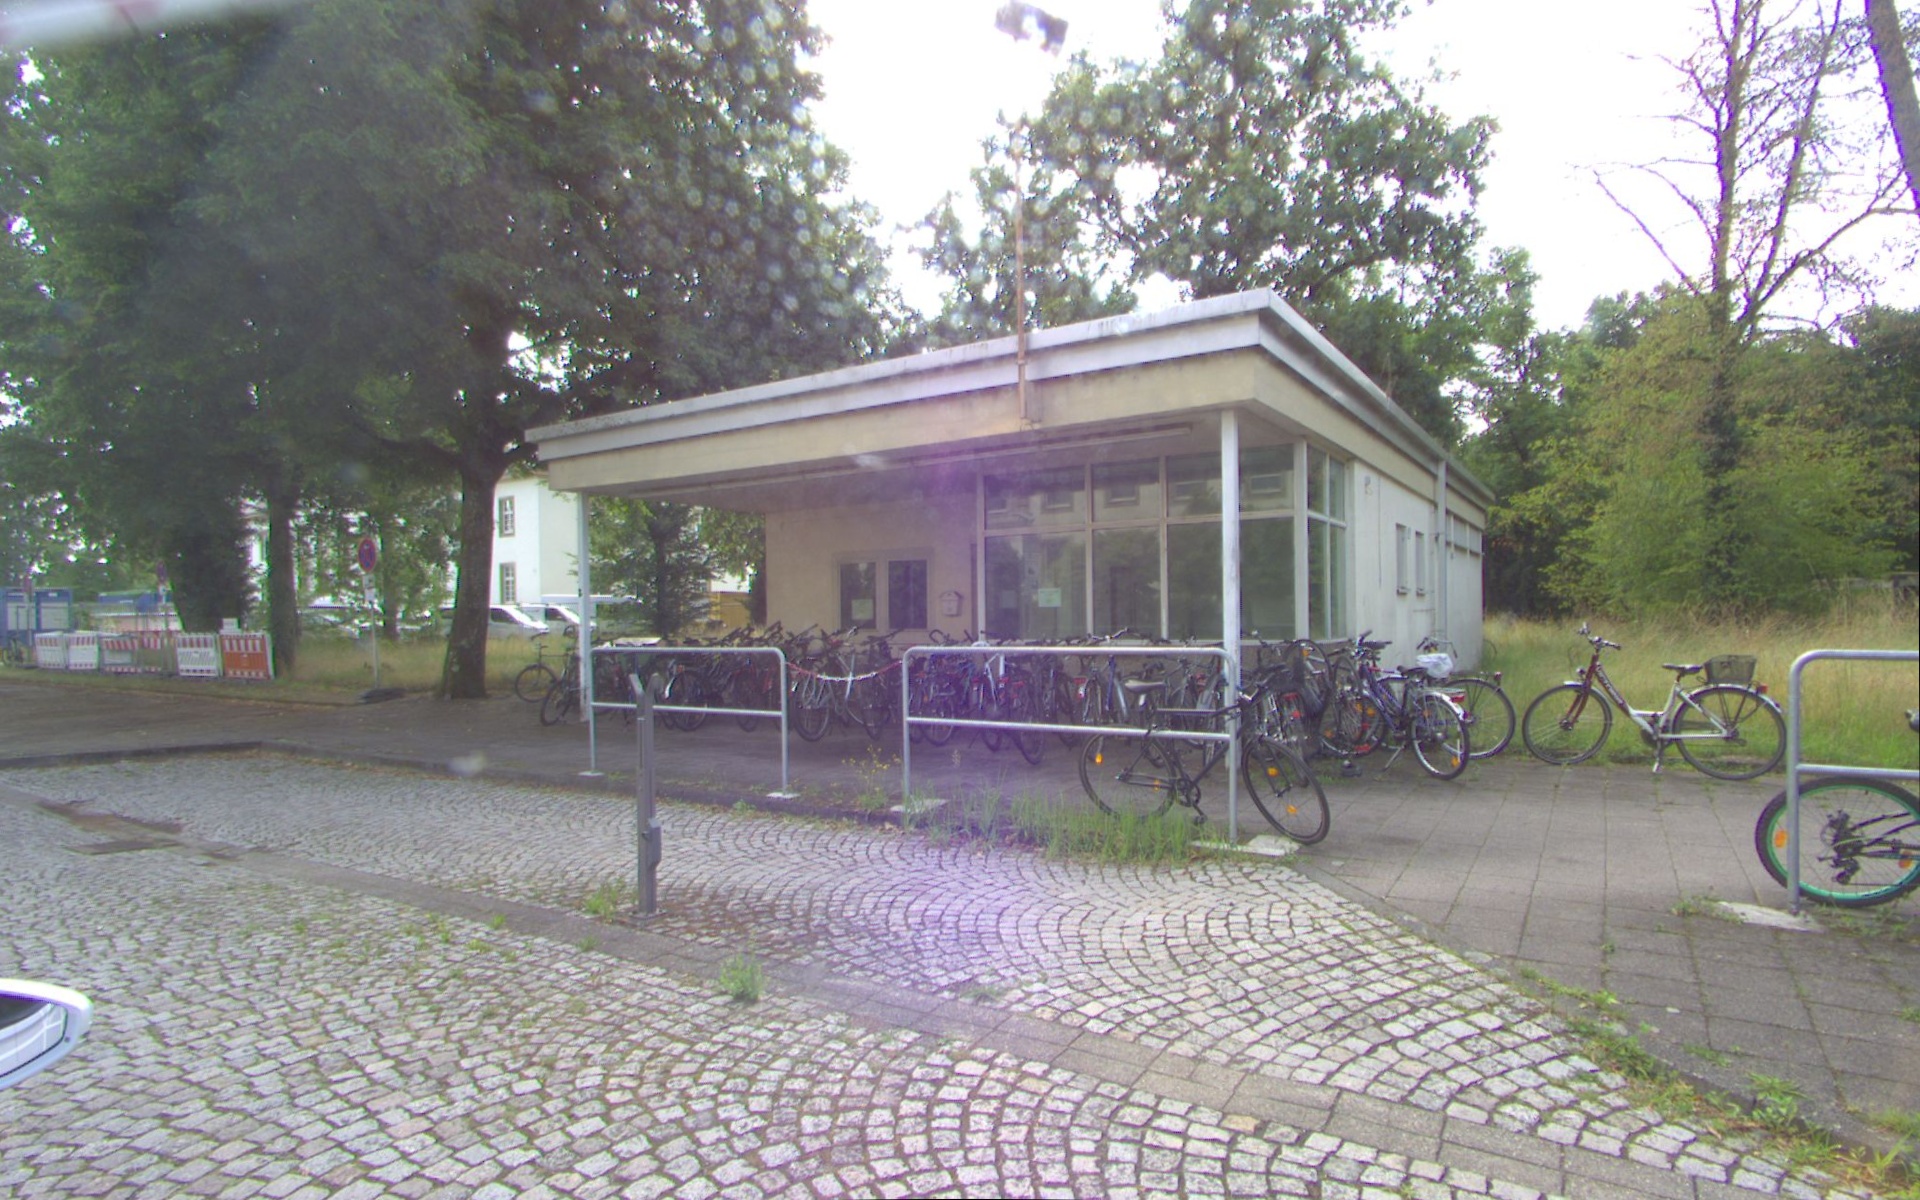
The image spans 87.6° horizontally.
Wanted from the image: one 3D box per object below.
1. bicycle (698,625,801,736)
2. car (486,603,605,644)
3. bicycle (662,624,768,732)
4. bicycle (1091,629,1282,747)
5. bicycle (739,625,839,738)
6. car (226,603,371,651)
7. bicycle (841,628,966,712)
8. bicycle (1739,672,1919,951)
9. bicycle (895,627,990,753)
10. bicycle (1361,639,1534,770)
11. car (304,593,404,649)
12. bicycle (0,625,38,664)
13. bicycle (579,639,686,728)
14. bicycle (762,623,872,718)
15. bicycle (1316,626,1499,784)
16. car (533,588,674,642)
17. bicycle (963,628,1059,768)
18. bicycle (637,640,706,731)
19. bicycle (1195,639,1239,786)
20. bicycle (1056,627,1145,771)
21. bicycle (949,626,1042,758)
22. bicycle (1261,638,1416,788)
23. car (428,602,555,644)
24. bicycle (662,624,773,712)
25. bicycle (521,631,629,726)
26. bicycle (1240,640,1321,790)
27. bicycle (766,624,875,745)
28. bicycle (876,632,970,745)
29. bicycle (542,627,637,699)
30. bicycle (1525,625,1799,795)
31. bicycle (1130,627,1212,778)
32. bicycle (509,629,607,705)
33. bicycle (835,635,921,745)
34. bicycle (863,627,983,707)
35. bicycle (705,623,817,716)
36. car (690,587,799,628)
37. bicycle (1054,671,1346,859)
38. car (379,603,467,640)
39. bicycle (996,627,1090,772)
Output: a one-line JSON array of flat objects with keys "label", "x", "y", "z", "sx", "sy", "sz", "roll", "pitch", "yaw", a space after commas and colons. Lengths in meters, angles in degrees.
[{"label": "bicycle", "x": -2.559, "y": 0.947, "z": 12.335, "sx": 0.412, "sy": 1.206, "sz": 1.631, "roll": -1, "pitch": 1, "yaw": 20}, {"label": "car", "x": -19.473, "y": 1.116, "z": 47.114, "sx": 4.780, "sy": 1.848, "sz": 2.001, "roll": 0, "pitch": -2, "yaw": 6}, {"label": "bicycle", "x": -3.041, "y": 0.939, "z": 12.592, "sx": 0.465, "sy": 1.206, "sz": 1.631, "roll": -1, "pitch": 1, "yaw": 19}, {"label": "bicycle", "x": 2.257, "y": 0.846, "z": 10.075, "sx": 1.806, "sy": 1.090, "sz": 0.489, "roll": -1, "pitch": 2, "yaw": 32}, {"label": "bicycle", "x": -2.025, "y": 0.935, "z": 12.051, "sx": 0.412, "sy": 1.206, "sz": 1.631, "roll": -1, "pitch": 1, "yaw": 20}, {"label": "car", "x": -28.352, "y": 1.109, "z": 43.081, "sx": 1.880, "sy": 1.946, "sz": 4.847, "roll": 1, "pitch": 0, "yaw": 33}, {"label": "bicycle", "x": -0.776, "y": 0.946, "z": 13.776, "sx": 1.652, "sy": 1.090, "sz": 0.479, "roll": -1, "pitch": 2, "yaw": 22}, {"label": "bicycle", "x": 4.272, "y": 0.876, "z": 4.179, "sx": 1.543, "sy": 1.076, "sz": 0.688, "roll": -1, "pitch": 0, "yaw": 33}, {"label": "bicycle", "x": -0.150, "y": 0.897, "z": 10.518, "sx": 0.320, "sy": 1.156, "sz": 1.590, "roll": 0, "pitch": 1, "yaw": 25}, {"label": "bicycle", "x": 4.237, "y": 0.872, "z": 8.781, "sx": 0.400, "sy": 1.023, "sz": 1.348, "roll": -1, "pitch": 0, "yaw": -34}, {"label": "car", "x": -29.669, "y": 1.059, "z": 48.982, "sx": 5.830, "sy": 2.588, "sz": 1.988, "roll": -1, "pitch": -2, "yaw": 35}, {"label": "bicycle", "x": -30.073, "y": 1.393, "z": 31.904, "sx": 1.879, "sy": 1.185, "sz": 0.640, "roll": -1, "pitch": 0, "yaw": 35}, {"label": "bicycle", "x": -4.287, "y": 1.069, "z": 13.241, "sx": 0.744, "sy": 0.989, "sz": 1.745, "roll": -1, "pitch": 1, "yaw": 3}, {"label": "bicycle", "x": -1.982, "y": 0.947, "z": 14.116, "sx": 0.599, "sy": 1.181, "sz": 1.738, "roll": 0, "pitch": 1, "yaw": 28}, {"label": "bicycle", "x": 3.634, "y": 0.799, "z": 8.297, "sx": 0.465, "sy": 1.146, "sz": 1.739, "roll": 0, "pitch": -1, "yaw": -11}, {"label": "car", "x": -17.678, "y": 0.780, "z": 49.834, "sx": 6.297, "sy": 2.611, "sz": 2.001, "roll": 0, "pitch": -1, "yaw": 3}, {"label": "bicycle", "x": 0.517, "y": 0.878, "z": 9.560, "sx": 0.320, "sy": 1.156, "sz": 1.612, "roll": 0, "pitch": 1, "yaw": 25}, {"label": "bicycle", "x": -3.651, "y": 1.054, "z": 12.760, "sx": 0.316, "sy": 0.989, "sz": 1.634, "roll": -1, "pitch": 1, "yaw": 3}, {"label": "bicycle", "x": 2.076, "y": 0.871, "z": 8.139, "sx": 0.282, "sy": 1.076, "sz": 1.153, "roll": 0, "pitch": 0, "yaw": 12}, {"label": "bicycle", "x": 1.342, "y": 0.868, "z": 9.349, "sx": 0.350, "sy": 1.156, "sz": 1.612, "roll": 0, "pitch": 1, "yaw": 25}, {"label": "bicycle", "x": 0.387, "y": 0.881, "z": 10.129, "sx": 0.320, "sy": 1.156, "sz": 1.612, "roll": 0, "pitch": 1, "yaw": 25}, {"label": "bicycle", "x": 3.050, "y": 0.859, "z": 8.237, "sx": 0.446, "sy": 1.059, "sz": 1.750, "roll": 0, "pitch": -1, "yaw": -6}, {"label": "car", "x": -20.840, "y": 1.042, "z": 44.624, "sx": 4.780, "sy": 1.848, "sz": 2.001, "roll": 0, "pitch": -2, "yaw": 6}, {"label": "bicycle", "x": -3.620, "y": 0.987, "z": 15.118, "sx": 0.599, "sy": 1.181, "sz": 1.738, "roll": 0, "pitch": 1, "yaw": 28}, {"label": "bicycle", "x": -5.150, "y": 1.016, "z": 13.495, "sx": 0.332, "sy": 1.123, "sz": 1.677, "roll": -1, "pitch": 1, "yaw": 19}, {"label": "bicycle", "x": 2.528, "y": 0.864, "z": 7.992, "sx": 0.332, "sy": 1.059, "sz": 1.406, "roll": 0, "pitch": -1, "yaw": 6}, {"label": "bicycle", "x": -1.542, "y": 0.908, "z": 11.328, "sx": 0.490, "sy": 1.206, "sz": 1.631, "roll": -1, "pitch": 1, "yaw": 20}, {"label": "bicycle", "x": -0.371, "y": 0.922, "z": 10.939, "sx": 0.320, "sy": 1.064, "sz": 1.590, "roll": 0, "pitch": 1, "yaw": 25}, {"label": "bicycle", "x": -6.163, "y": 1.021, "z": 16.640, "sx": 1.611, "sy": 1.132, "sz": 0.595, "roll": -1, "pitch": 2, "yaw": 32}, {"label": "bicycle", "x": 5.330, "y": 0.777, "z": 7.668, "sx": 1.660, "sy": 1.153, "sz": 0.644, "roll": -1, "pitch": 0, "yaw": 39}, {"label": "bicycle", "x": 1.906, "y": 0.852, "z": 8.927, "sx": 0.350, "sy": 1.156, "sz": 1.612, "roll": 0, "pitch": 1, "yaw": 25}, {"label": "bicycle", "x": -6.471, "y": 1.055, "z": 16.094, "sx": 1.611, "sy": 1.132, "sz": 0.595, "roll": -1, "pitch": 2, "yaw": 32}, {"label": "bicycle", "x": -0.884, "y": 0.960, "z": 11.178, "sx": 0.328, "sy": 1.064, "sz": 1.631, "roll": -1, "pitch": 1, "yaw": 18}, {"label": "bicycle", "x": -0.531, "y": 0.942, "z": 14.294, "sx": 1.652, "sy": 1.090, "sz": 0.479, "roll": -1, "pitch": 2, "yaw": 22}, {"label": "bicycle", "x": -2.840, "y": 0.961, "z": 14.454, "sx": 0.599, "sy": 1.181, "sz": 1.738, "roll": 0, "pitch": 1, "yaw": 28}, {"label": "car", "x": -11.813, "y": 0.479, "z": 55.431, "sx": 2.182, "sy": 2.122, "sz": 6.129, "roll": -1, "pitch": -2, "yaw": 33}, {"label": "bicycle", "x": 1.425, "y": 0.941, "z": 6.088, "sx": 1.632, "sy": 0.965, "sz": 0.533, "roll": -2, "pitch": 0, "yaw": 33}, {"label": "car", "x": -27.657, "y": 1.150, "z": 51.524, "sx": 4.809, "sy": 1.848, "sz": 1.989, "roll": -1, "pitch": -2, "yaw": 35}, {"label": "bicycle", "x": 0.806, "y": 0.868, "z": 9.307, "sx": 0.320, "sy": 1.156, "sz": 1.612, "roll": 0, "pitch": 1, "yaw": 25}]
